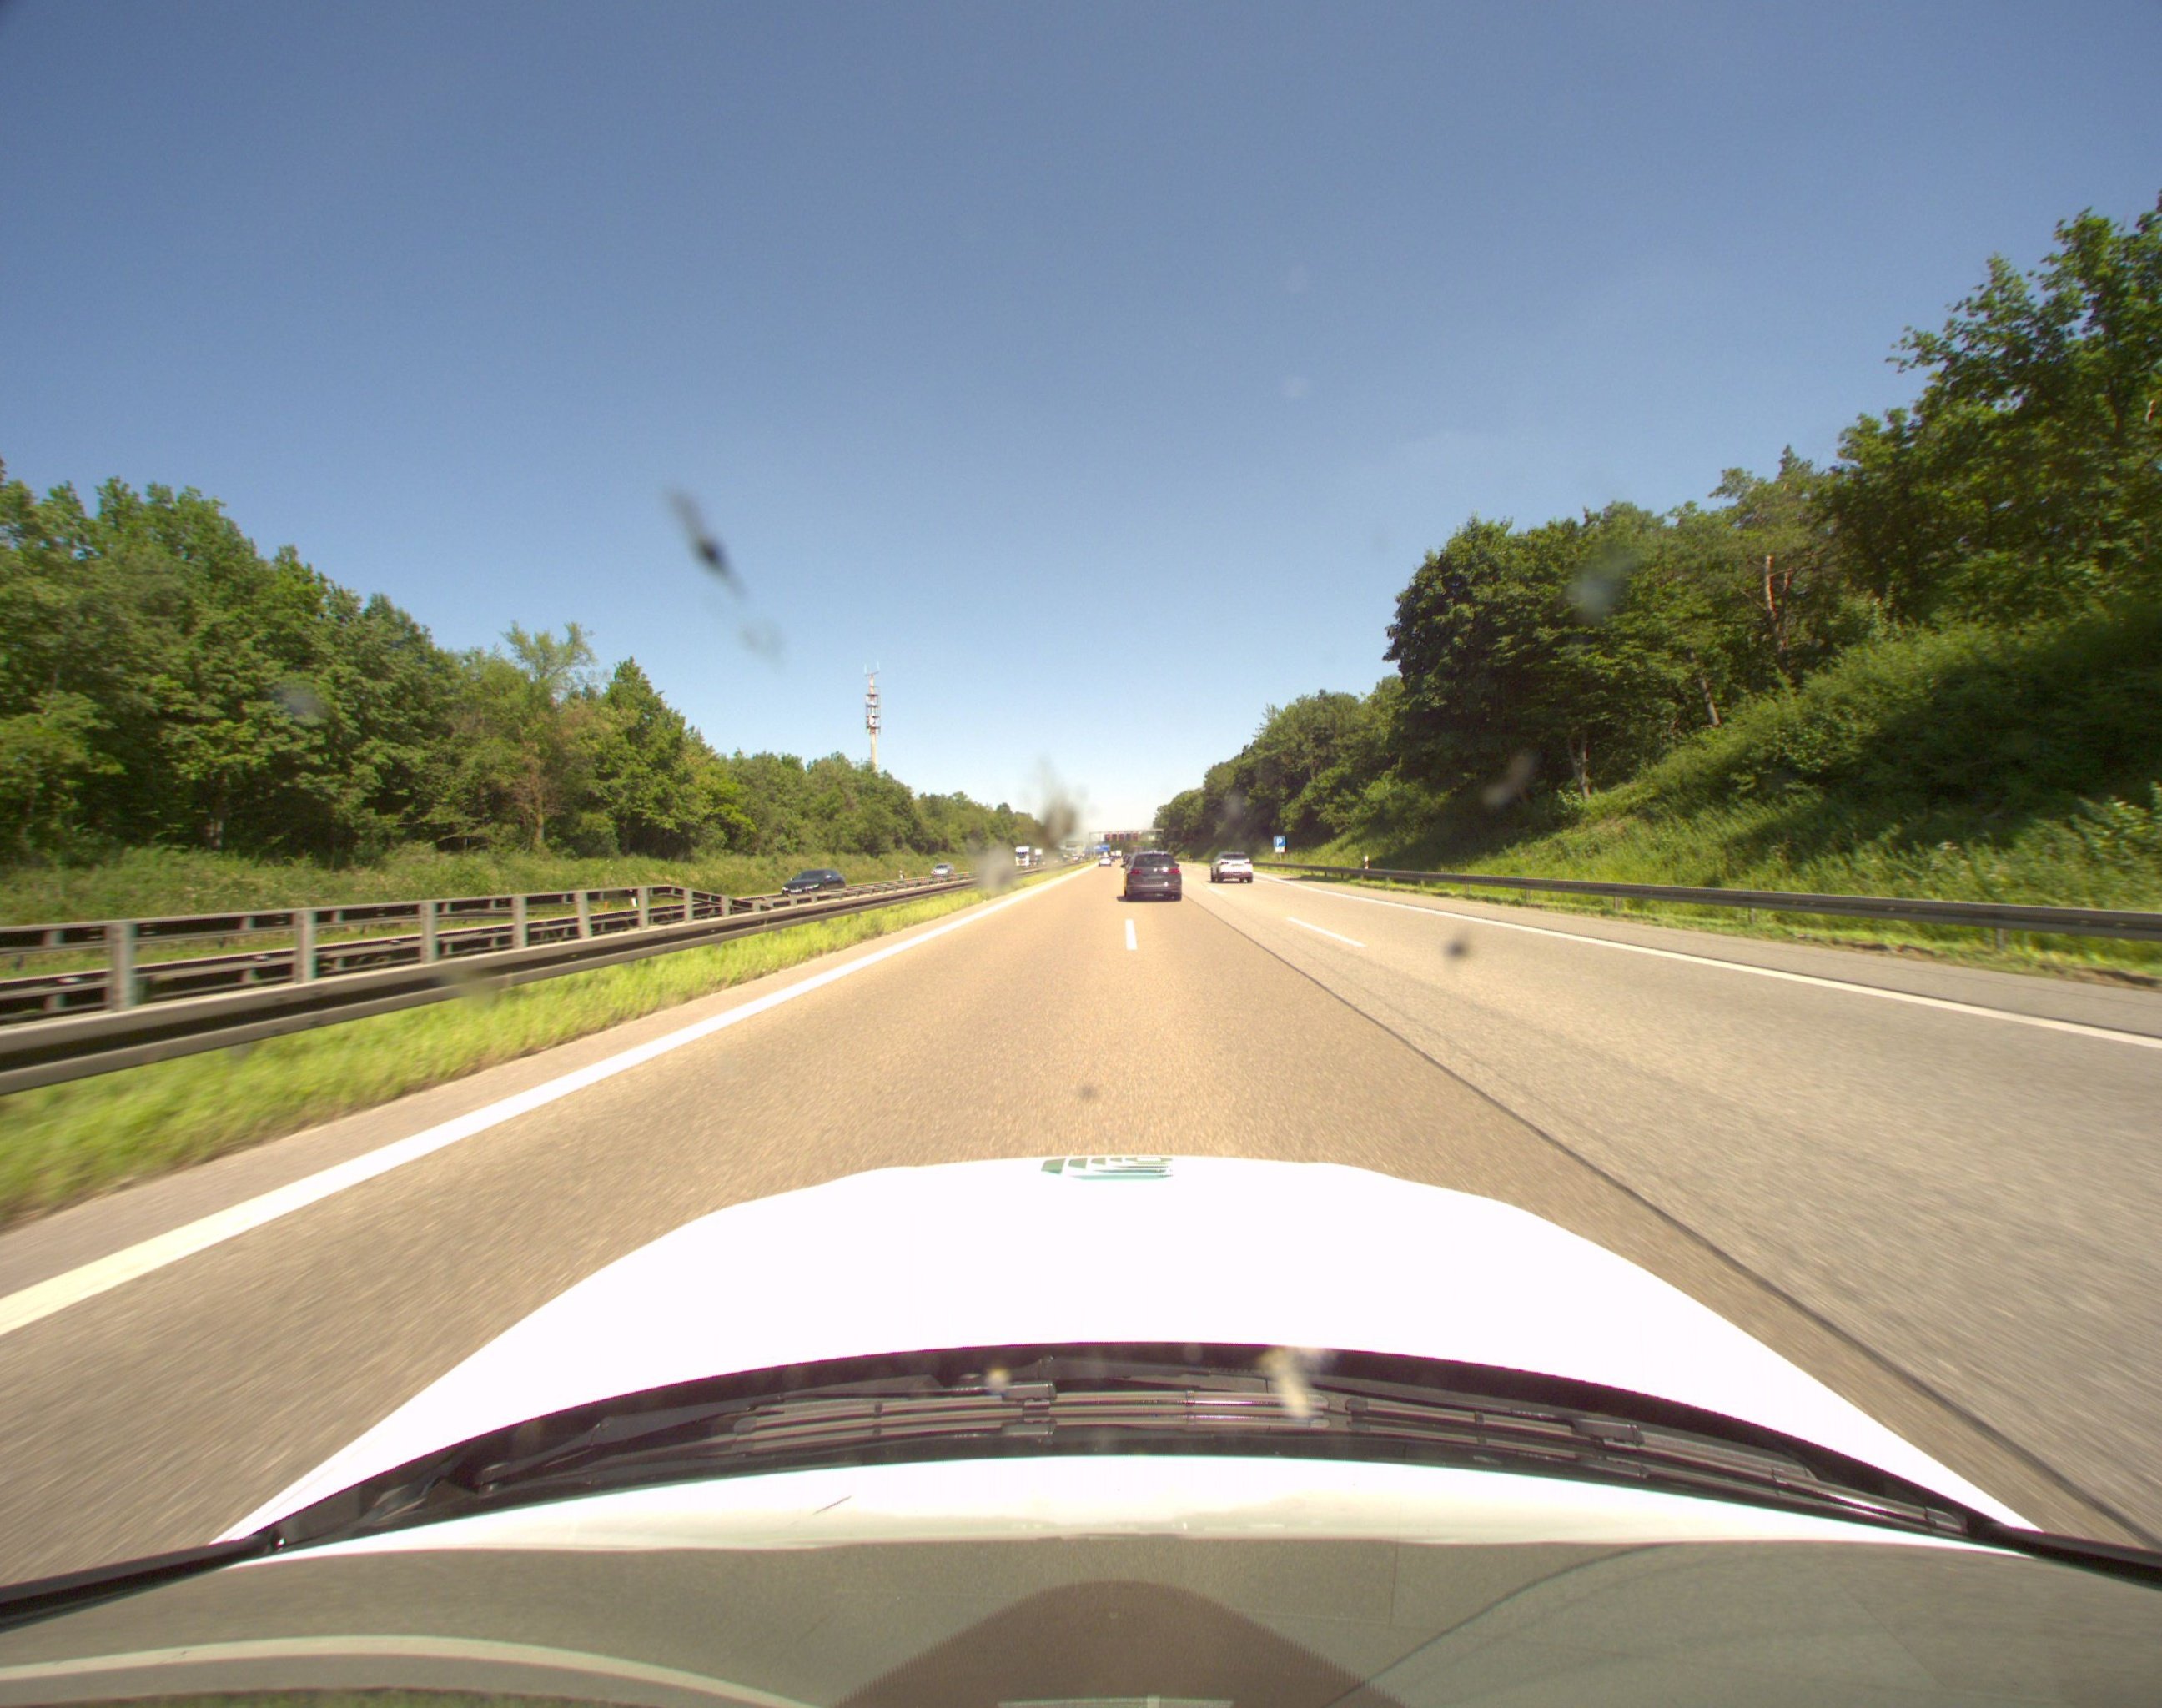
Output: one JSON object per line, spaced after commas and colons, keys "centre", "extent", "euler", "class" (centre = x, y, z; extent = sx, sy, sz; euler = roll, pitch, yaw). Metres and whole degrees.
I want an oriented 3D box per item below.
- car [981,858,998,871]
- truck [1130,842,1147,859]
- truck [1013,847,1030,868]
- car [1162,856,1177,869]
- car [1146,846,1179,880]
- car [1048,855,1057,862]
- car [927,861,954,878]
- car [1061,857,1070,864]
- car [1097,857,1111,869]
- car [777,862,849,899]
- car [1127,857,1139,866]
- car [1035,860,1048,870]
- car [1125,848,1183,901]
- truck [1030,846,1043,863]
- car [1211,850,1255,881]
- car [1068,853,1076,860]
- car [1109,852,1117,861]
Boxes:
{"centre": [-12.777, 1.452, 113.684], "extent": [1.589, 1.568, 4.371], "euler": [-4, 0, 2], "class": "car"}
{"centre": [15.495, -0.811, 219.548], "extent": [3.767, 4.422, 14.052], "euler": [-1, 0, 1], "class": "truck"}
{"centre": [-12.074, 0.694, 165.310], "extent": [2.605, 4.058, 4.002], "euler": [-4, 0, 2], "class": "truck"}
{"centre": [11.360, 1.050, 104.549], "extent": [1.757, 1.568, 4.262], "euler": [0, 0, 4], "class": "car"}
{"centre": [4.964, 0.530, 49.980], "extent": [1.658, 1.876, 4.830], "euler": [-3, 0, 2], "class": "car"}
{"centre": [-6.913, 1.101, 198.538], "extent": [1.707, 1.418, 4.506], "euler": [-2, 0, 2], "class": "car"}
{"centre": [-14.697, 1.589, 85.406], "extent": [1.621, 1.492, 4.945], "euler": [-4, 0, 3], "class": "car"}
{"centre": [-3.442, 1.414, 181.507], "extent": [1.800, 1.405, 4.821], "euler": [-3, 0, 2], "class": "car"}
{"centre": [3.142, 1.169, 110.819], "extent": [1.757, 1.568, 4.262], "euler": [0, 0, 4], "class": "car"}
{"centre": [-13.043, 1.256, 39.908], "extent": [1.749, 1.568, 4.433], "euler": [-4, 0, 3], "class": "car"}
{"centre": [7.905, 1.156, 123.307], "extent": [1.757, 1.381, 4.262], "euler": [0, 0, 4], "class": "car"}
{"centre": [-5.925, 1.670, 122.999], "extent": [1.480, 1.356, 4.420], "euler": [-3, 0, 2], "class": "car"}
{"centre": [2.442, 0.642, 27.821], "extent": [1.791, 1.669, 4.262], "euler": [0, 0, 4], "class": "car"}
{"centre": [-10.790, 0.108, 198.988], "extent": [2.693, 3.809, 4.002], "euler": [-4, 0, 2], "class": "truck"}
{"centre": [8.081, 0.586, 43.496], "extent": [1.835, 1.568, 4.039], "euler": [0, 0, 4], "class": "car"}
{"centre": [-2.471, 0.727, 234.553], "extent": [1.921, 1.981, 5.237], "euler": [-4, 0, 2], "class": "car"}
{"centre": [7.362, 0.470, 187.481], "extent": [1.986, 2.013, 4.001], "euler": [-1, 0, 2], "class": "car"}
